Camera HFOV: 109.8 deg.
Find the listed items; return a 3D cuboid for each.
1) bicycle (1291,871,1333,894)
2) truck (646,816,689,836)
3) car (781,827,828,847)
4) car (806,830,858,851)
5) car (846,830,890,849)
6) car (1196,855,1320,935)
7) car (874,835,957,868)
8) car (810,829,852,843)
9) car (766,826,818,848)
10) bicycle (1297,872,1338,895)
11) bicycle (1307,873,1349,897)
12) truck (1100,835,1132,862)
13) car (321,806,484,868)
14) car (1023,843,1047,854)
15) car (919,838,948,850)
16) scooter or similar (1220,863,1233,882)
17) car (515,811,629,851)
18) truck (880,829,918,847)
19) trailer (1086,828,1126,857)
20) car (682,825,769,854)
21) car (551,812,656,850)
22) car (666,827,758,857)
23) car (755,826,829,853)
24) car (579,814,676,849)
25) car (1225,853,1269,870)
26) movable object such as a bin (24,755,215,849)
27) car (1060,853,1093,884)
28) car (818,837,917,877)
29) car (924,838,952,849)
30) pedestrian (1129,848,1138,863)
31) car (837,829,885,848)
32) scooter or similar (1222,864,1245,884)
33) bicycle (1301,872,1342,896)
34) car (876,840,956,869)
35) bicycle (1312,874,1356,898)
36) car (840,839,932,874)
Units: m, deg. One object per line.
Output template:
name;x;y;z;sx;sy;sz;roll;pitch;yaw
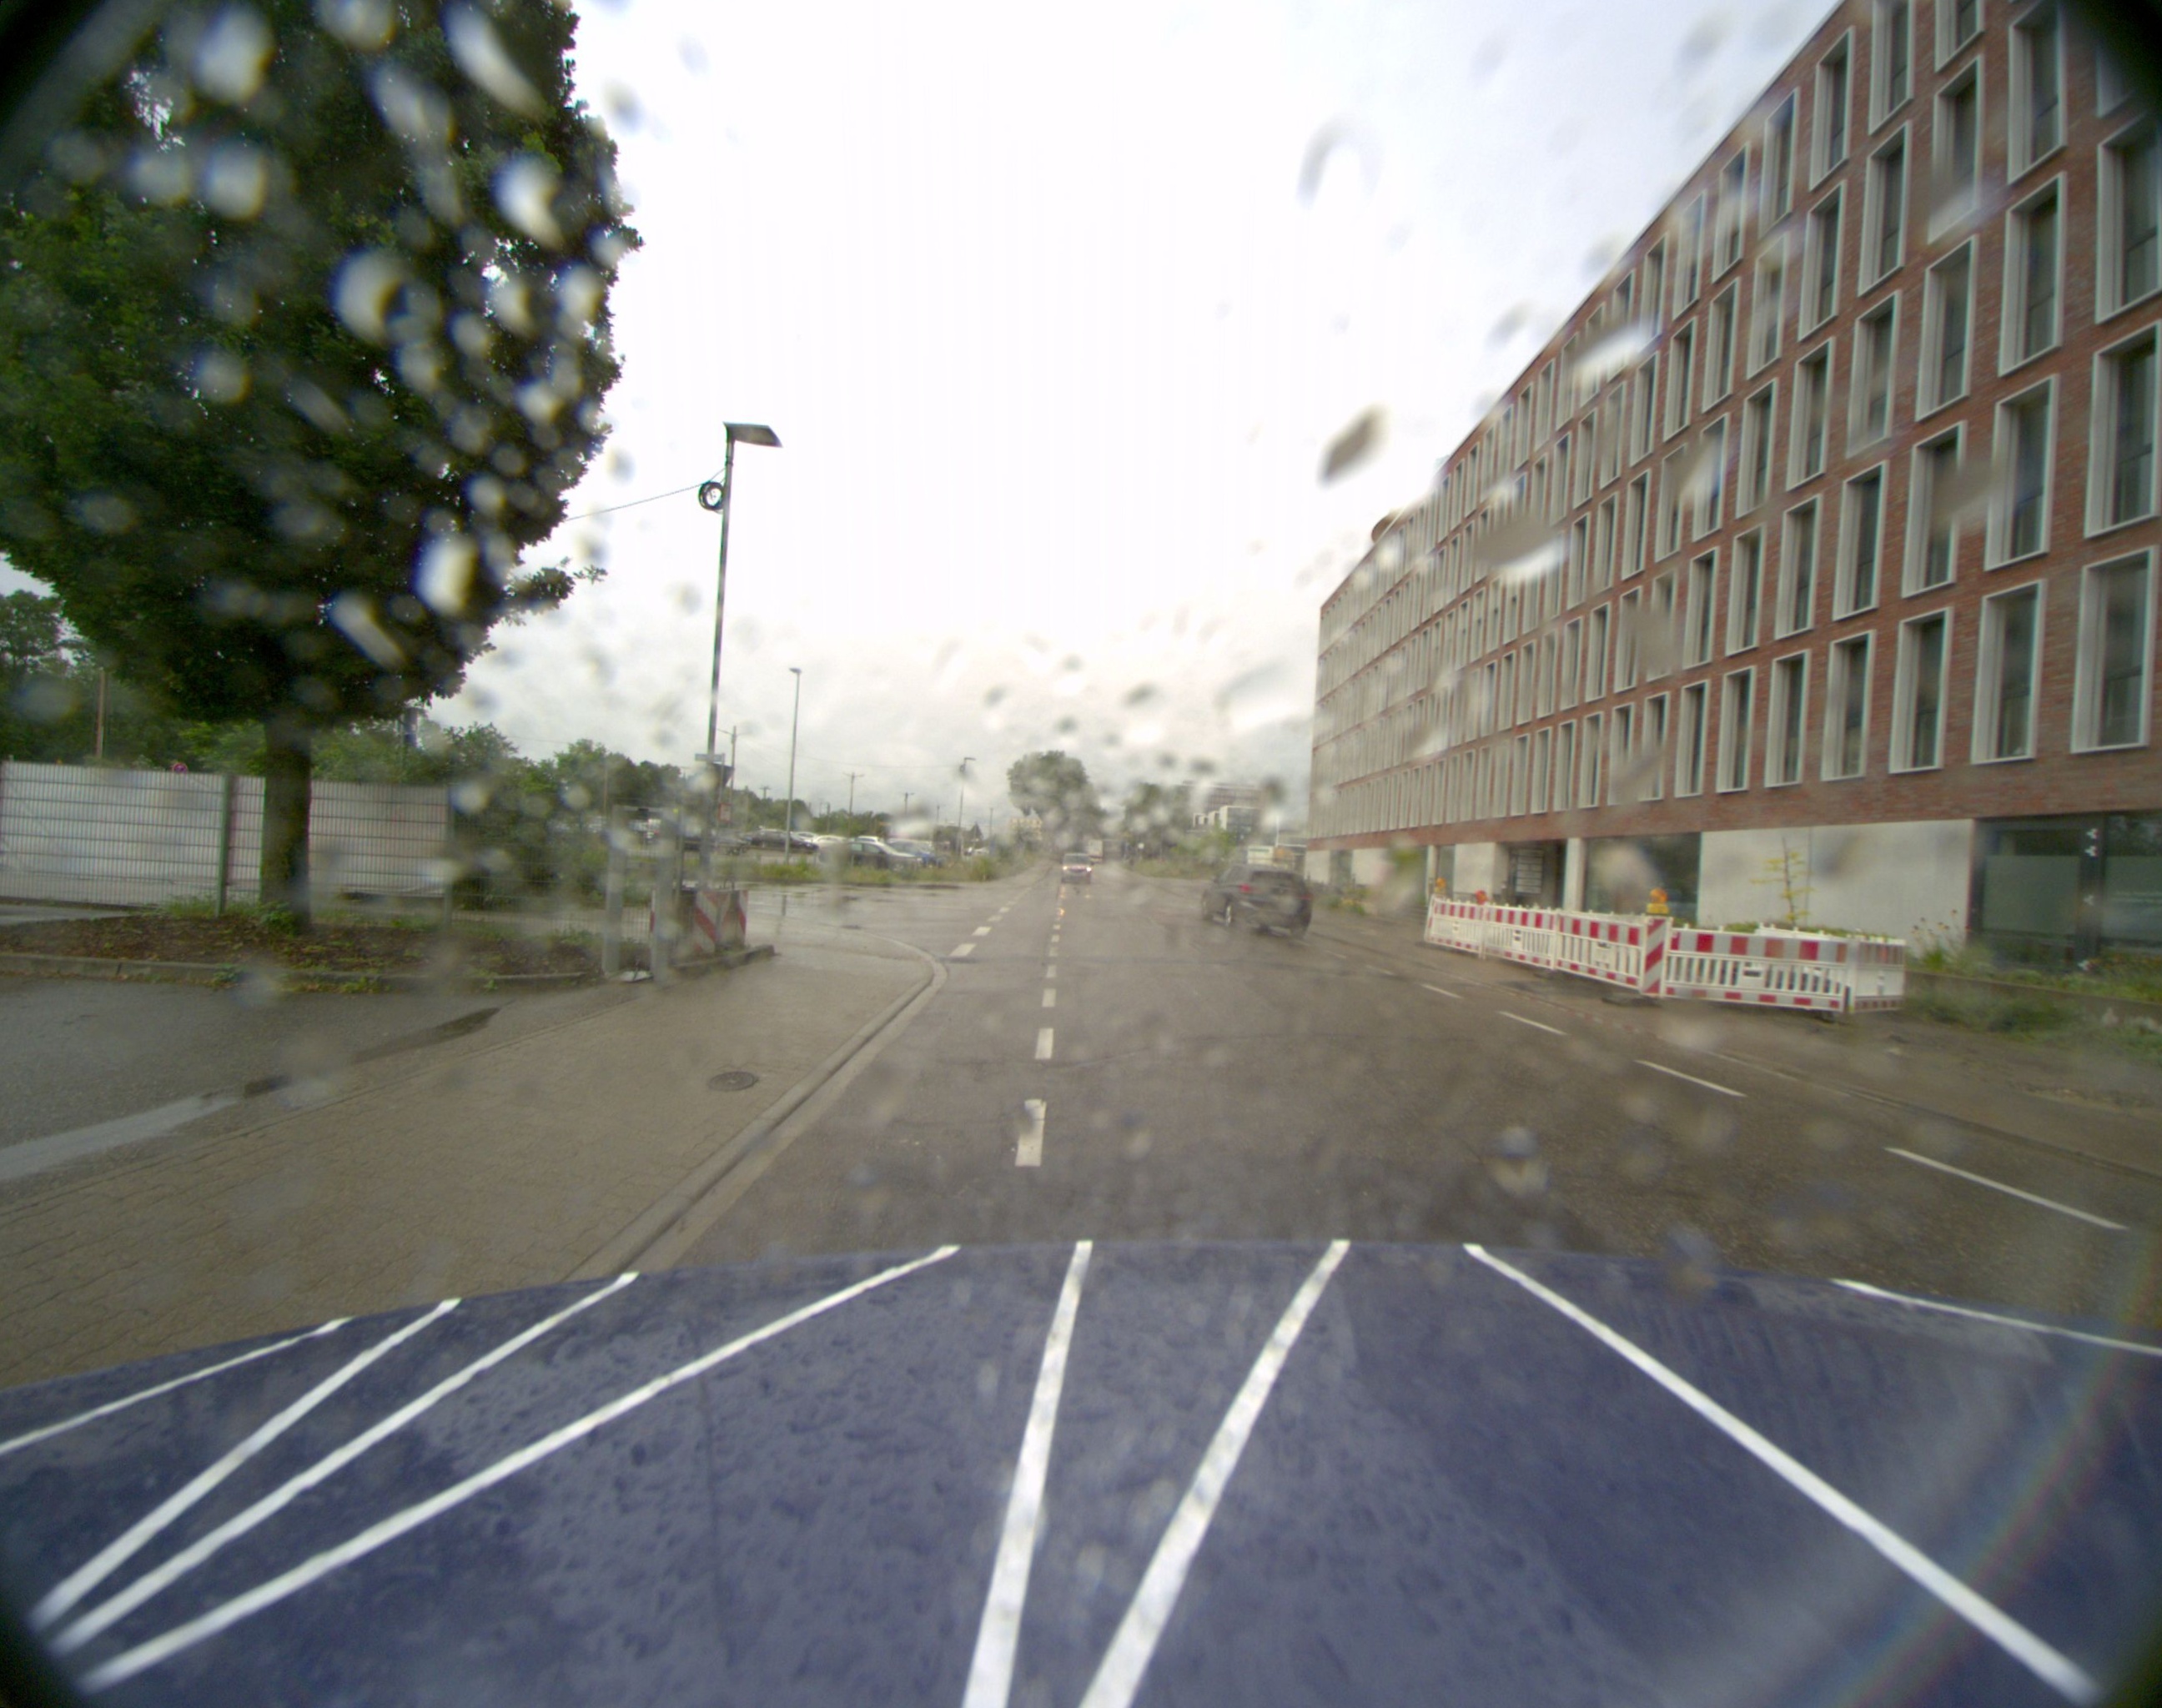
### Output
bicycle;11.999;1.473;39.459;1.953;1.071;0.620;2;1;-2
truck;-48.915;-3.312;89.979;2.086;2.002;5.279;4;0;1
car;-28.239;-1.780;77.685;4.072;1.650;1.831;6;2;-3
car;-22.059;-1.200;67.396;3.838;1.476;1.927;6;2;2
car;-21.943;-1.495;78.243;3.912;1.575;1.786;6;2;2
car;4.173;0.895;18.642;1.764;1.559;4.148;5;0;-3
car;-10.615;-0.213;48.998;4.691;1.725;2.128;4;2;3
car;-28.320;-2.048;86.198;4.072;1.066;1.831;6;2;-3
car;-27.319;-1.617;71.954;4.070;1.596;1.926;6;2;0
bicycle;12.029;1.497;38.634;1.864;1.071;0.544;2;1;-2
bicycle;12.059;1.510;37.141;1.864;1.071;0.544;2;1;-2
truck;6.433;-1.039;139.377;3.295;4.627;6.045;4;1;27
car;-23.956;-0.578;26.937;3.998;1.911;1.831;3;0;-2
car;-7.679;-0.861;126.084;3.906;1.586;1.896;3;2;-3
car;-22.508;-1.566;116.188;3.962;1.419;1.886;5;2;1
scooter or similar;9.957;1.281;52.128;0.467;1.223;1.320;4;1;-4
car;-26.716;-1.220;39.990;4.454;1.663;2.042;6;2;-4
truck;-28.547;-2.485;119.075;5.302;2.354;2.152;4;1;-1
trailer;4.555;-1.871;133.153;3.297;4.627;13.751;4;1;16
car;-20.497;-0.853;43.924;3.997;1.477;1.999;3;2;0
car;-26.710;-1.276;42.607;4.454;1.663;2.042;6;2;-4
car;-20.116;-0.673;41.557;3.997;1.401;1.999;3;2;0
car;-21.081;-1.079;55.608;4.634;1.706;2.017;3;2;-7
car;-27.131;-1.356;45.581;4.453;1.663;2.042;6;2;-2
car;19.649;0.853;90.060;4.534;1.632;1.999;3;1;-4
movable object such as a bin;-33.827;-1.757;26.829;3.998;2.975;1.999;3;1;-2
car;-0.342;0.844;46.823;1.838;1.714;4.171;3;0;-2
car;-10.109;0.127;36.216;4.232;1.392;1.888;6;2;-9
car;-22.395;-1.697;119.281;3.962;1.419;1.886;5;2;1
pedestrian;6.152;0.183;89.203;0.911;1.708;1.026;4;1;-1
car;-21.769;-1.509;75.248;4.054;1.476;1.927;6;2;2
scooter or similar;9.949;1.312;49.546;1.317;1.223;0.468;5;1;28
bicycle;12.037;1.497;38.009;1.864;1.071;0.544;2;1;-2
car;-9.732;0.015;45.151;4.306;1.508;1.819;3;2;0
bicycle;12.093;1.506;36.323;1.864;1.071;0.544;2;1;-2
car;-10.015;0.107;39.284;4.192;1.501;1.890;3;2;0
